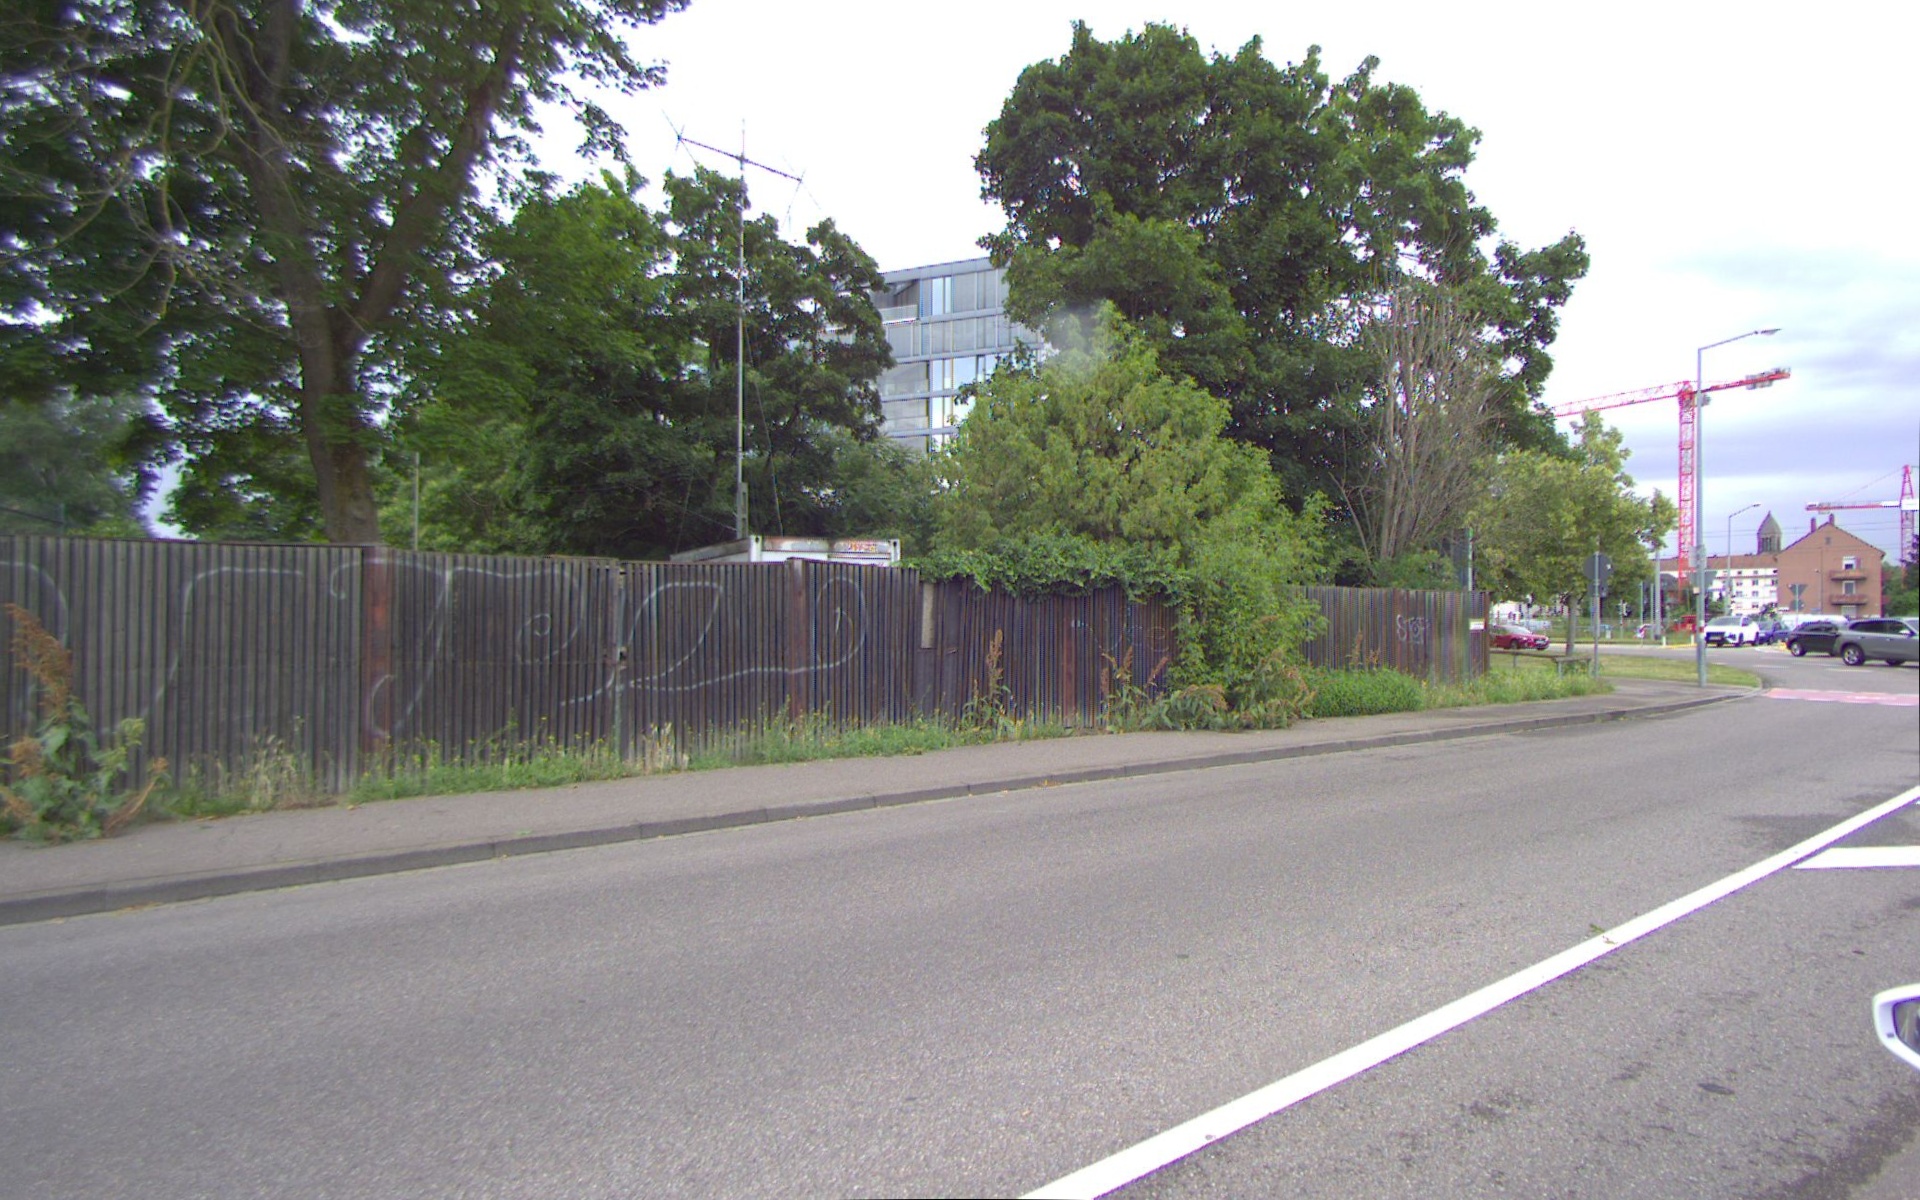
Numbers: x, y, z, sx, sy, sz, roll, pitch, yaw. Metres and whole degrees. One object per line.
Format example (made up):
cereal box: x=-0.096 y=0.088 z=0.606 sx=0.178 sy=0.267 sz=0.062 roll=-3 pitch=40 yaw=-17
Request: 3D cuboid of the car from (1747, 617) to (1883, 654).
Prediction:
car: x=35.475 y=1.436 z=41.854 sx=1.961 sy=1.483 sz=4.322 roll=0 pitch=-1 yaw=-1

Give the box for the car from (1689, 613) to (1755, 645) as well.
car: x=41.826 y=1.572 z=55.091 sx=4.152 sy=1.706 sz=1.916 roll=1 pitch=-1 yaw=-38

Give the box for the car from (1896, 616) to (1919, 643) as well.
car: x=60.818 y=1.823 z=61.642 sx=4.580 sy=1.656 sz=2.001 roll=0 pitch=-1 yaw=8

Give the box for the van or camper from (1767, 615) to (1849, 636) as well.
van or camper: x=85.129 y=2.503 z=100.933 sx=1.969 sy=2.040 sz=6.171 roll=0 pitch=-1 yaw=-19

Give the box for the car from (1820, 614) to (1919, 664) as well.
car: x=31.394 y=1.270 z=33.099 sx=1.962 sy=1.604 sz=4.528 roll=0 pitch=-1 yaw=-6

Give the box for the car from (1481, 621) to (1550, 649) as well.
car: x=31.287 y=1.954 z=56.712 sx=1.959 sy=1.483 sz=4.360 roll=0 pitch=-1 yaw=7

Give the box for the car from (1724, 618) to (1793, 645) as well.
car: x=47.098 y=1.840 z=59.229 sx=3.953 sy=1.509 sz=1.922 roll=1 pitch=-1 yaw=-30
